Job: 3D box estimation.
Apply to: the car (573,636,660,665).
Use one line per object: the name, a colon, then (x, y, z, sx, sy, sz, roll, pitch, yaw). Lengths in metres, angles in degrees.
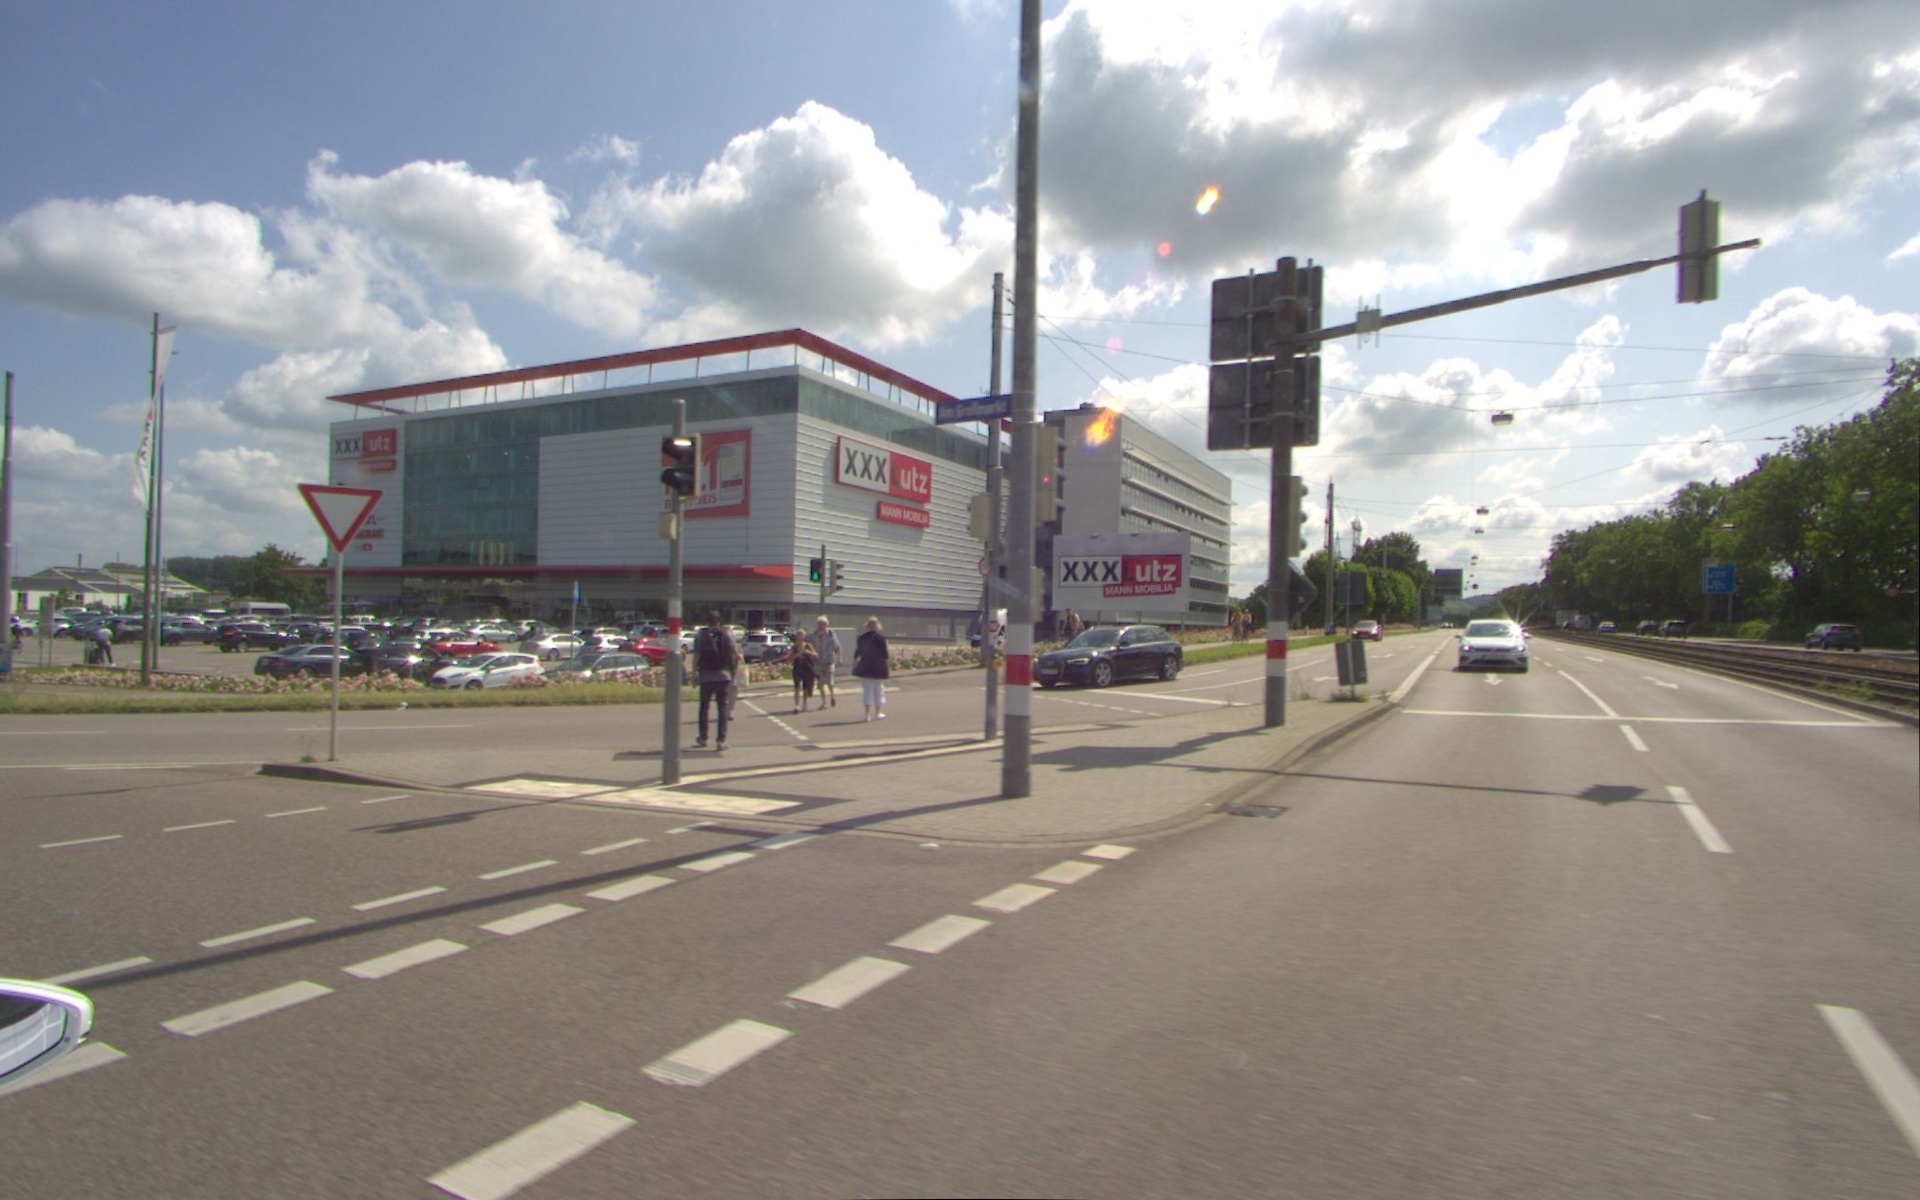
car: (-18.478, 2.690, 54.019, 1.819, 1.380, 4.353, 1, 0, 30)

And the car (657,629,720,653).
car: (-17.719, 2.679, 65.447, 1.643, 1.470, 3.985, 1, -2, 29)

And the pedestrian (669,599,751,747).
pedestrian: (-3.224, 0.913, 12.901, 0.811, 1.826, 0.755, 1, 0, -35)

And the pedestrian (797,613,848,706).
pedestrian: (-2.647, 1.140, 19.347, 0.692, 1.750, 0.684, -2, -2, 40)

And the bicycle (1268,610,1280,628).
bicycle: (18.857, 1.157, 60.112, 0.586, 0.973, 1.985, 1, -2, 18)

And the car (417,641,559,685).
car: (-16.697, 2.191, 35.640, 1.769, 1.458, 4.357, 0, -2, 29)

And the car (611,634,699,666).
car: (-16.031, 2.605, 52.829, 1.819, 1.446, 4.353, 1, 0, 30)

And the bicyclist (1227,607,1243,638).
bicyclist: (14.383, 1.180, 52.413, 0.612, 1.555, 0.694, 1, -2, 33)

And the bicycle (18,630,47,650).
bicycle: (-51.118, 2.203, 55.191, 1.937, 1.082, 0.622, 0, -1, 29)

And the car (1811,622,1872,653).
car: (52.305, 2.243, 59.490, 1.838, 1.727, 3.986, 1, -2, 28)

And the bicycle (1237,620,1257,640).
bicycle: (15.806, 1.631, 55.174, 0.656, 0.973, 1.688, -4, -1, 29)

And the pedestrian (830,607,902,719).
pedestrian: (-1.566, 1.014, 16.613, 0.851, 1.788, 0.860, -1, 1, -35)

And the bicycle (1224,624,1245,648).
bicycle: (14.354, 1.894, 52.381, 0.612, 1.180, 1.497, 1, -2, 33)

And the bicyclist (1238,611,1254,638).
bicyclist: (15.733, 1.348, 55.095, 0.641, 1.494, 0.740, 1, -1, 29)

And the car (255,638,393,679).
car: (-25.442, 2.294, 40.202, 1.829, 1.495, 4.354, 0, -1, 30)

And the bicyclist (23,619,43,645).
bicyclist: (-51.103, 1.774, 55.194, 0.704, 1.431, 0.615, 1, -1, 29)

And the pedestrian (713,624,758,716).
pedestrian: (-3.837, 1.189, 17.118, 0.463, 1.543, 0.553, 1, -2, 37)

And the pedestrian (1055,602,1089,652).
pedestrian: (3.620, 0.876, 32.330, 0.696, 1.612, 0.940, 0, -2, 39)

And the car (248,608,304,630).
car: (-66.253, 1.837, 96.979, 1.969, 1.976, 3.986, 1, -2, 28)

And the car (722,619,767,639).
car: (-18.014, 2.430, 83.844, 1.654, 1.542, 3.639, 1, -2, 28)

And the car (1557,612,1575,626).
car: (106.358, 3.374, 175.858, 2.114, 2.389, 5.467, 0, -1, 25)

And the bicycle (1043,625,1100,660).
bicycle: (3.618, 1.375, 32.324, 0.722, 1.074, 2.201, 0, -2, 40)

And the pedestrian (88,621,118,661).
pedestrian: (-39.255, 1.869, 45.874, 0.860, 1.805, 0.780, 2, -2, -31)

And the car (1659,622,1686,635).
car: (67.367, 2.716, 94.698, 1.403, 1.154, 3.387, 1, -2, 25)

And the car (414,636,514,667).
car: (-25.345, 2.608, 51.295, 1.819, 1.380, 4.353, 1, 0, 30)

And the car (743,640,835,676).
car: (-8.050, 2.697, 47.639, 2.018, 1.427, 4.353, 1, 0, 30)

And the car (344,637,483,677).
car: (-20.728, 2.139, 38.169, 1.828, 1.434, 4.357, 0, -2, 29)

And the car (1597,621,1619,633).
car: (82.079, 3.380, 126.846, 1.903, 1.382, 3.733, 1, -2, 26)

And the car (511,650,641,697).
car: (-12.780, 2.403, 33.557, 1.688, 1.436, 3.987, -1, -2, 26)

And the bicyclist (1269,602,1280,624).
bicyclist: (18.901, 0.787, 60.246, 0.582, 1.342, 0.686, 1, -1, 18)

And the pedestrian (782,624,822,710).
pedestrian: (-2.910, 1.220, 18.460, 0.463, 1.544, 0.581, 0, 0, 37)

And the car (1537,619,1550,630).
car: (130.282, 5.348, 223.661, 2.115, 2.225, 5.460, 0, 1, 27)
